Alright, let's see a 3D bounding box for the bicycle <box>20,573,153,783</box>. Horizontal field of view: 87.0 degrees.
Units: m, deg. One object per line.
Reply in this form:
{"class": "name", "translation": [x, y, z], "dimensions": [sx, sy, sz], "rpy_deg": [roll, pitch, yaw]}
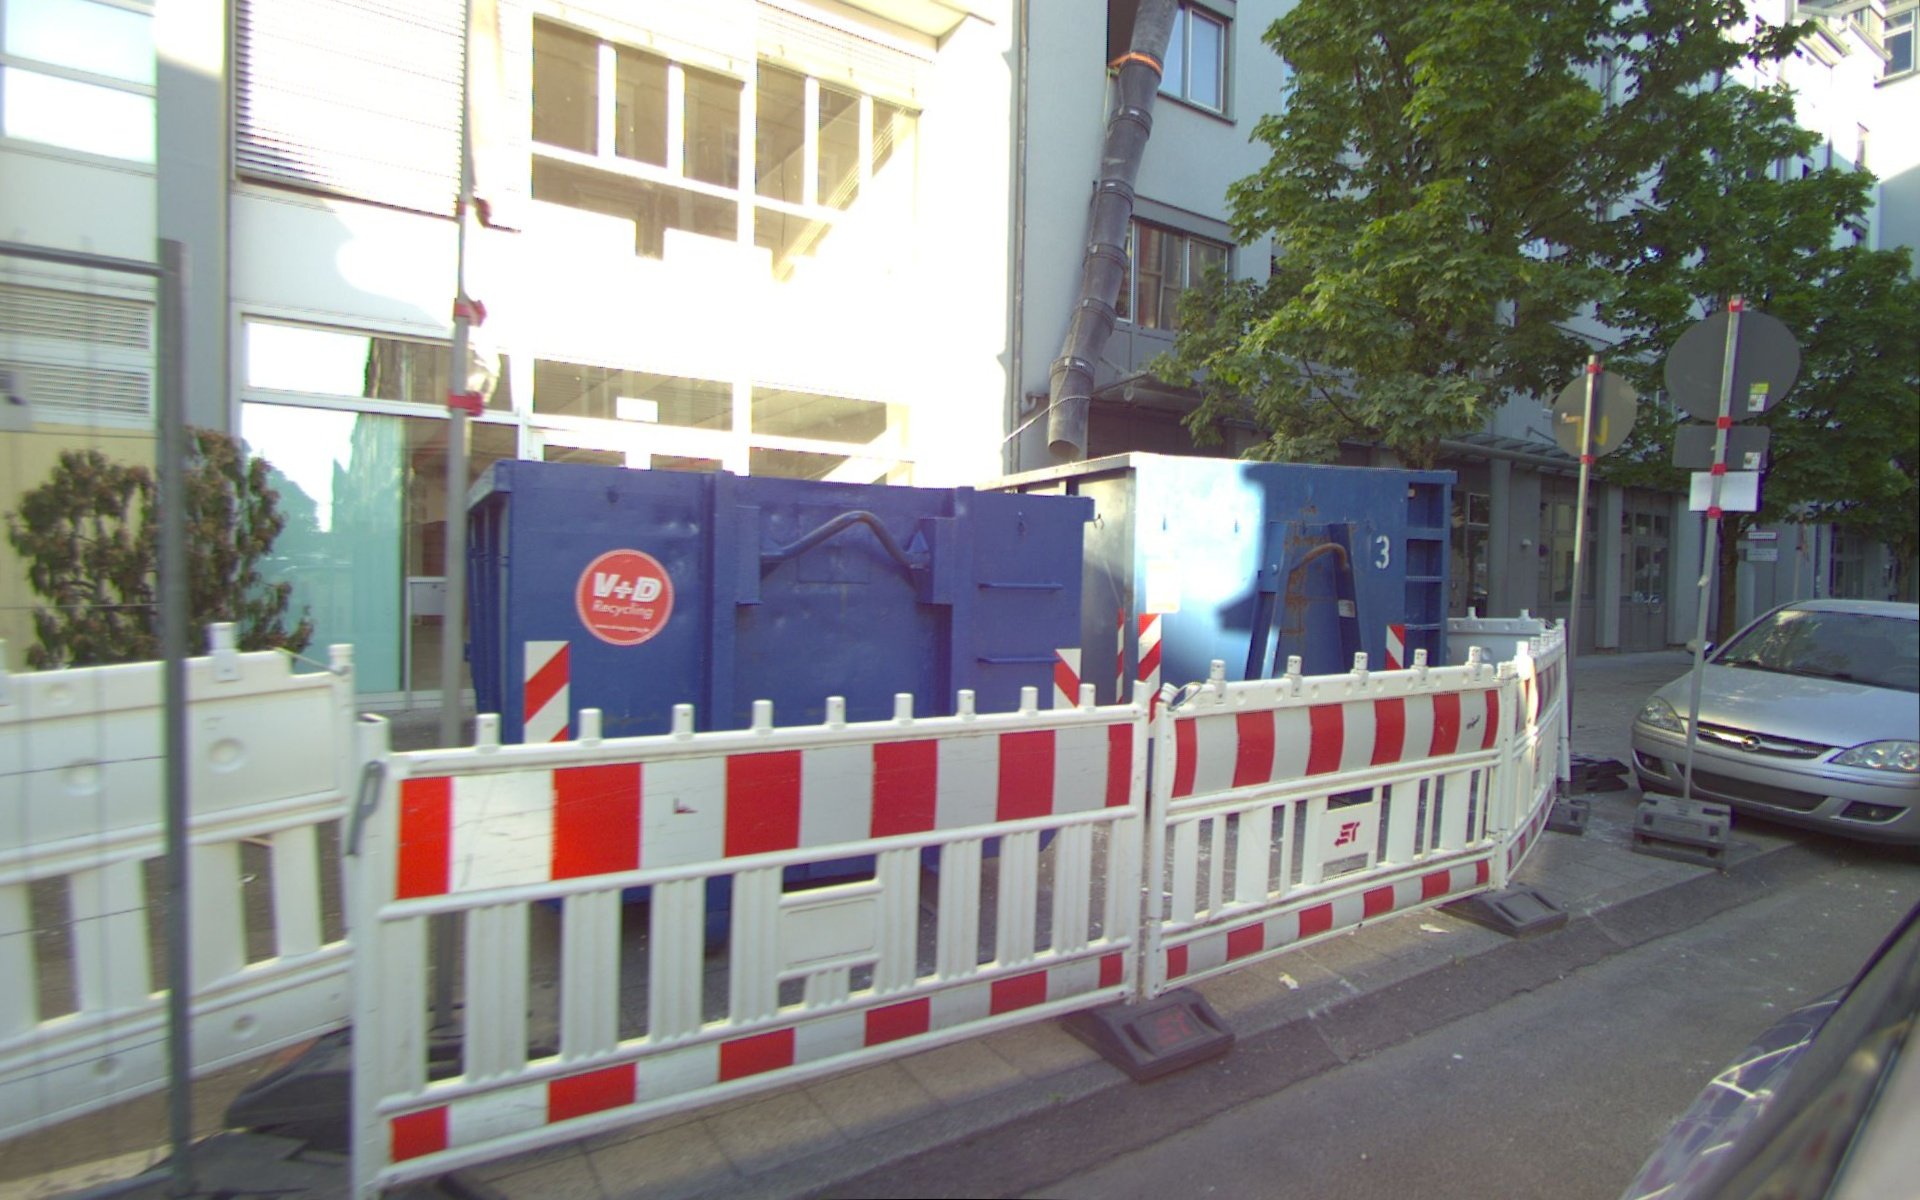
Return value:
{"class": "bicycle", "translation": [-5.877, 0.438, 6.878], "dimensions": [0.553, 1.181, 1.888], "rpy_deg": [0, 3, -37]}

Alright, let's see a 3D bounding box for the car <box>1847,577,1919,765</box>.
{"class": "car", "translation": [10.153, 0.623, 9.289], "dimensions": [3.921, 1.605, 1.916], "rpy_deg": [0, 1, -31]}

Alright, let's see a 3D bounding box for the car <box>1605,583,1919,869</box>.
{"class": "car", "translation": [6.318, 0.644, 6.888], "dimensions": [3.986, 1.465, 1.641], "rpy_deg": [0, 1, -31]}
